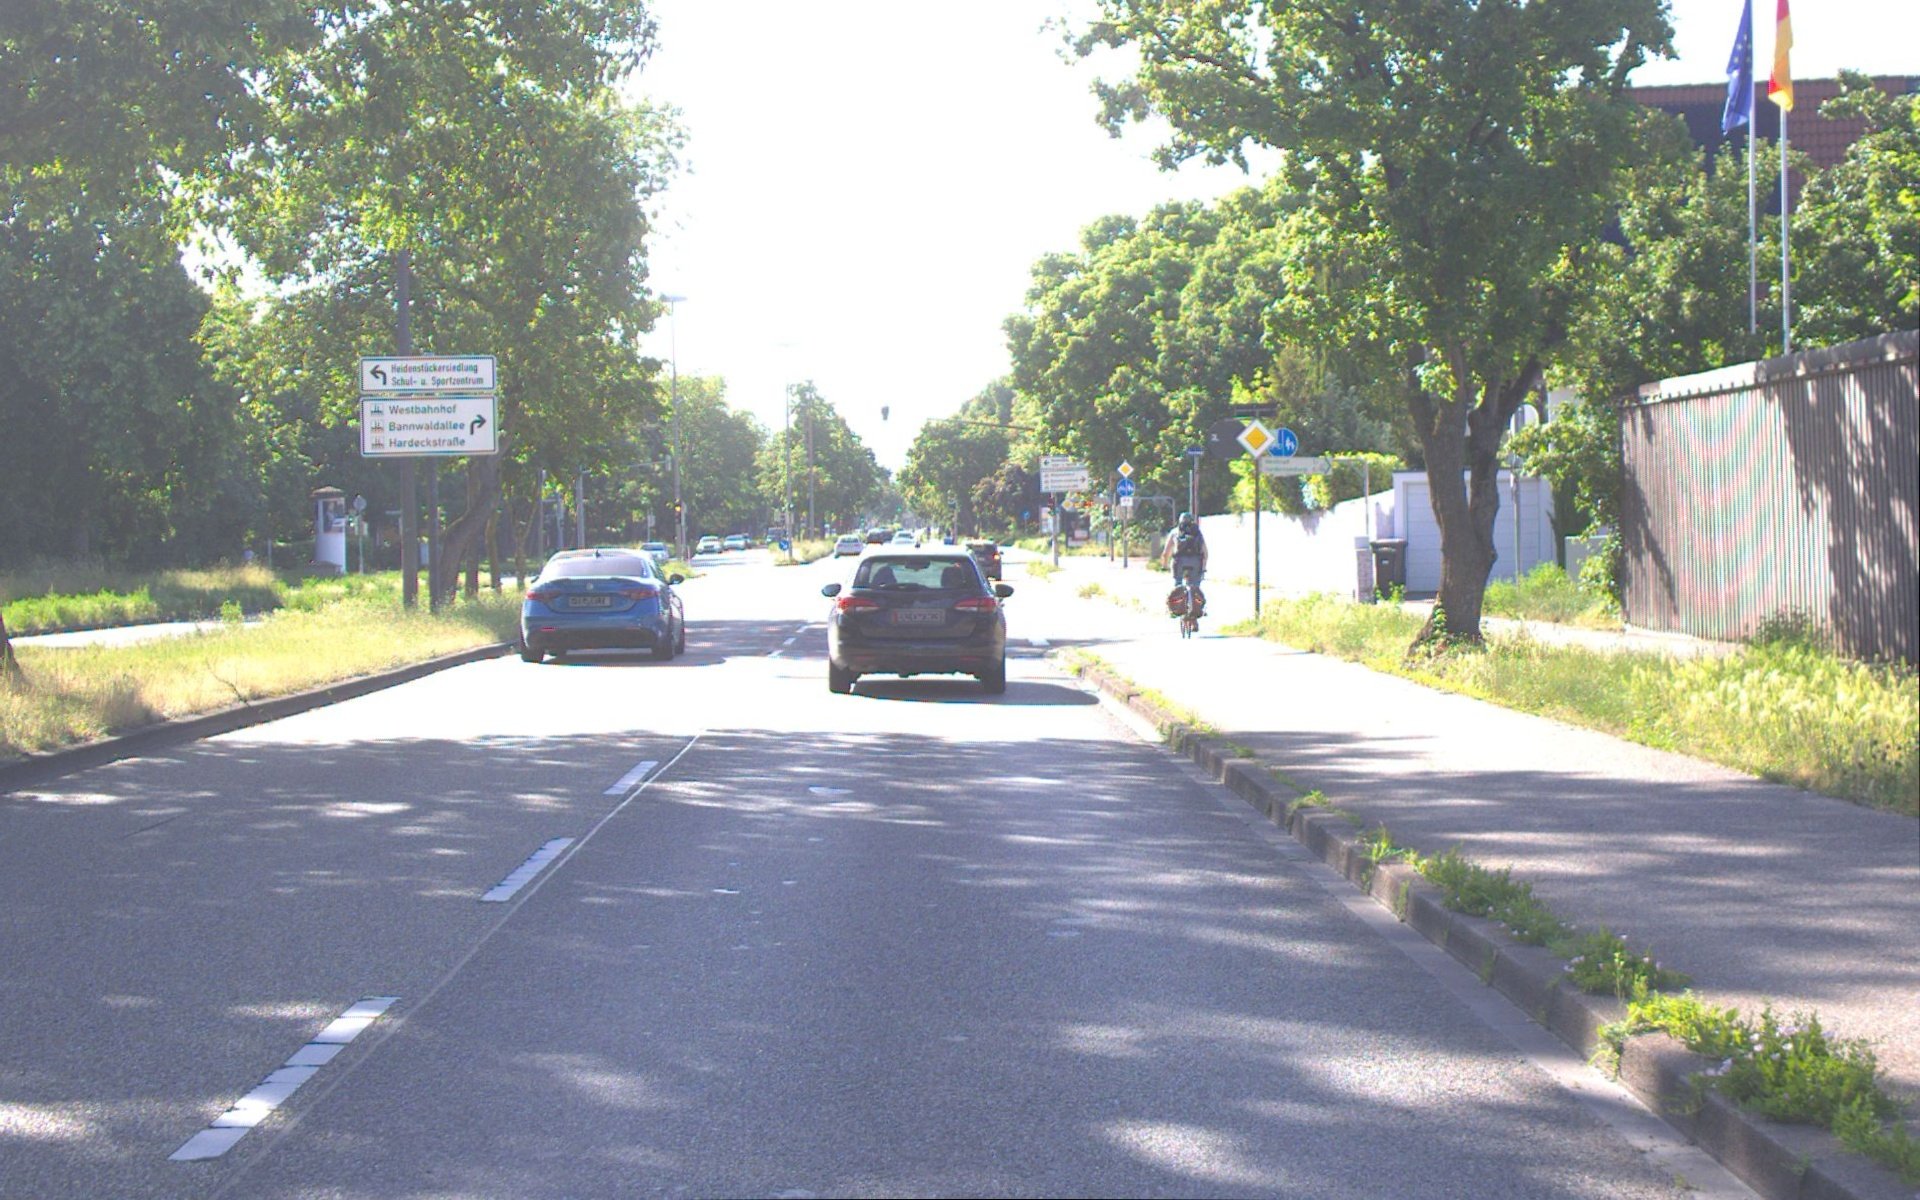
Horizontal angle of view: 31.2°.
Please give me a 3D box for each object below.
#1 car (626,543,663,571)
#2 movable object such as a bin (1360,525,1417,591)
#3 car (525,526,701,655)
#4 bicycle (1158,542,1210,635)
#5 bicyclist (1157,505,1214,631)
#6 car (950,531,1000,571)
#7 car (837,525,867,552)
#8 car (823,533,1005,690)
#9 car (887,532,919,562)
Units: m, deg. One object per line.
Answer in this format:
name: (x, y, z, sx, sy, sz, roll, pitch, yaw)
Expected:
car: (-19.599, -2.666, 213.829, 1.912, 1.697, 4.408, 1, 0, 0)
movable object such as a bin: (8.121, -0.796, 65.167, 1.002, 1.201, 1.062, -3, 0, 7)
car: (-4.421, -0.140, 44.292, 1.888, 1.546, 4.000, -1, 1, -1)
bicycle: (3.006, -0.172, 46.231, 0.574, 1.151, 2.141, -4, 2, 3)
bicyclist: (3.022, -0.433, 46.196, 0.630, 1.627, 0.982, -4, 1, 3)
car: (0.577, -1.873, 130.315, 1.732, 1.454, 3.840, 0, 1, 2)
car: (-6.855, -3.921, 217.699, 1.824, 1.609, 3.841, 1, 2, -2)
car: (-0.472, 0.089, 35.097, 1.755, 1.504, 3.809, 0, 1, -1)
car: (-3.169, -2.929, 189.948, 1.732, 1.579, 3.840, 1, 1, -1)
